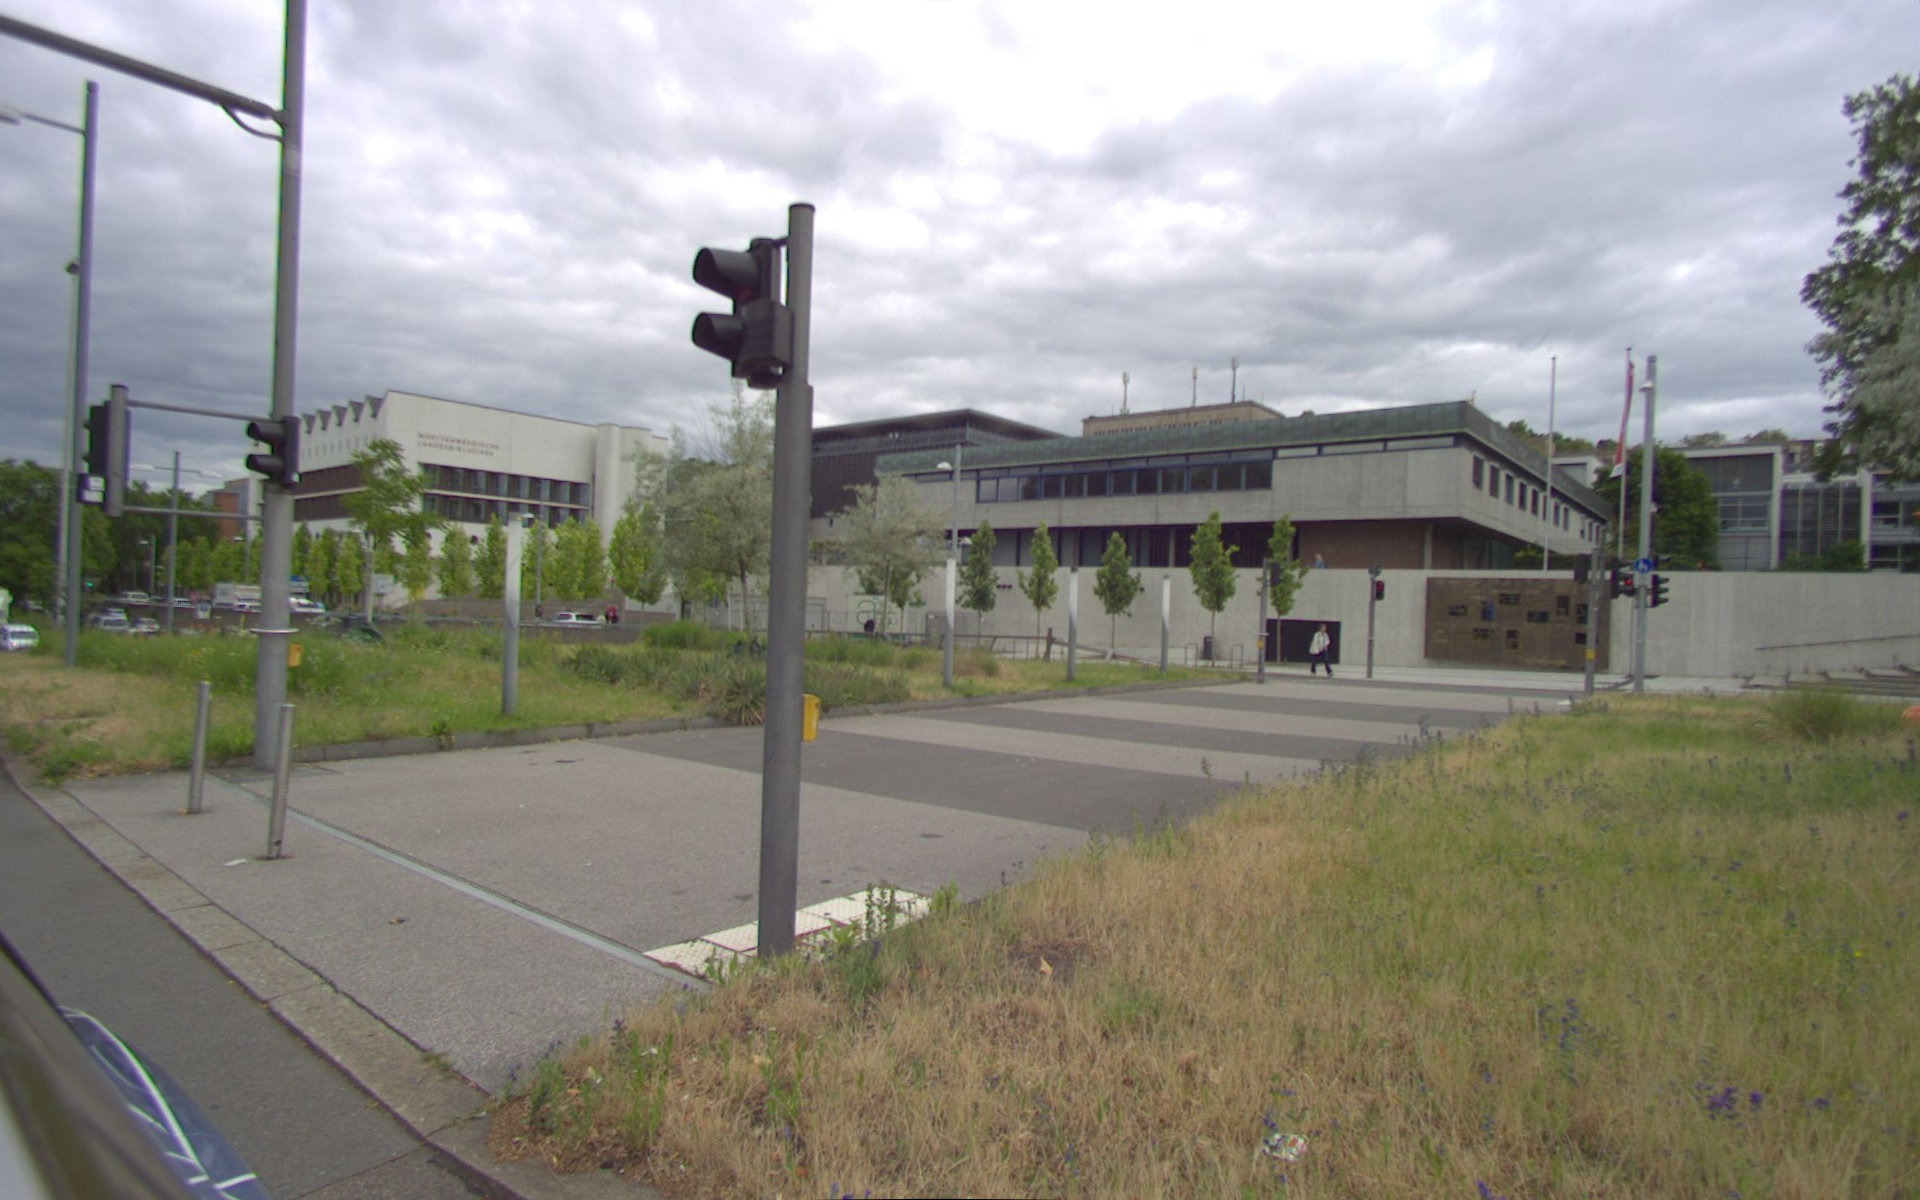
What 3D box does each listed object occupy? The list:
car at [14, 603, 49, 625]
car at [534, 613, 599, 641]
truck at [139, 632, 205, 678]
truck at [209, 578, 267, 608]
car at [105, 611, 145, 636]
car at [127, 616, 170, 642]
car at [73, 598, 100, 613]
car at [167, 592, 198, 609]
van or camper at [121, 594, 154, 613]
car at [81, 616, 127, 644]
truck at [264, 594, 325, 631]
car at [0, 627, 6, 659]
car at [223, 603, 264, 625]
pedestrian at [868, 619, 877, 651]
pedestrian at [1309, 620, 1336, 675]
[{"bbox_3d":[-95.783,1.442,104.402,4.849,2.147,1.973,0,-4,41],"label":"car"},{"bbox_3d":[-23.462,1.571,60.235,4.611,1.586,1.700,-1,-1,42],"label":"car"},{"bbox_3d":[-51.074,3.476,65.509,5.976,2.711,2.294,0,-1,41],"label":"truck"},{"bbox_3d":[-72.012,-0.605,100.901,7.250,2.809,3.197,-1,-1,42],"label":"truck"},{"bbox_3d":[-75.024,2.112,90.917,3.998,2.029,1.973,0,-5,41],"label":"car"},{"bbox_3d":[-67.875,2.390,84.636,3.998,2.029,1.973,0,-5,41],"label":"car"},{"bbox_3d":[-111.567,0.687,129.227,3.998,1.829,1.973,-1,-1,41],"label":"car"},{"bbox_3d":[-78.184,0.077,101.717,4.269,1.586,1.700,-1,-1,42],"label":"car"},{"bbox_3d":[-90.502,0.361,111.339,4.554,2.029,1.973,-1,-1,41],"label":"van or camper"},{"bbox_3d":[-67.376,2.375,79.621,4.330,2.029,1.973,0,-5,41],"label":"car"},{"bbox_3d":[-54.162,1.028,82.264,7.077,2.838,2.437,-1,-2,42],"label":"truck"},{"bbox_3d":[-64.306,2.789,66.418,3.998,2.029,1.973,-1,-2,41],"label":"car"},{"bbox_3d":[-63.021,1.253,88.965,4.255,1.829,1.973,-1,-1,41],"label":"car"},{"bbox_3d":[-4.243,1.703,49.042,0.316,1.533,0.314,0,0,34],"label":"pedestrian"},{"bbox_3d":[11.580,1.507,32.337,0.663,1.747,0.534,-1,-1,41],"label":"pedestrian"}]
